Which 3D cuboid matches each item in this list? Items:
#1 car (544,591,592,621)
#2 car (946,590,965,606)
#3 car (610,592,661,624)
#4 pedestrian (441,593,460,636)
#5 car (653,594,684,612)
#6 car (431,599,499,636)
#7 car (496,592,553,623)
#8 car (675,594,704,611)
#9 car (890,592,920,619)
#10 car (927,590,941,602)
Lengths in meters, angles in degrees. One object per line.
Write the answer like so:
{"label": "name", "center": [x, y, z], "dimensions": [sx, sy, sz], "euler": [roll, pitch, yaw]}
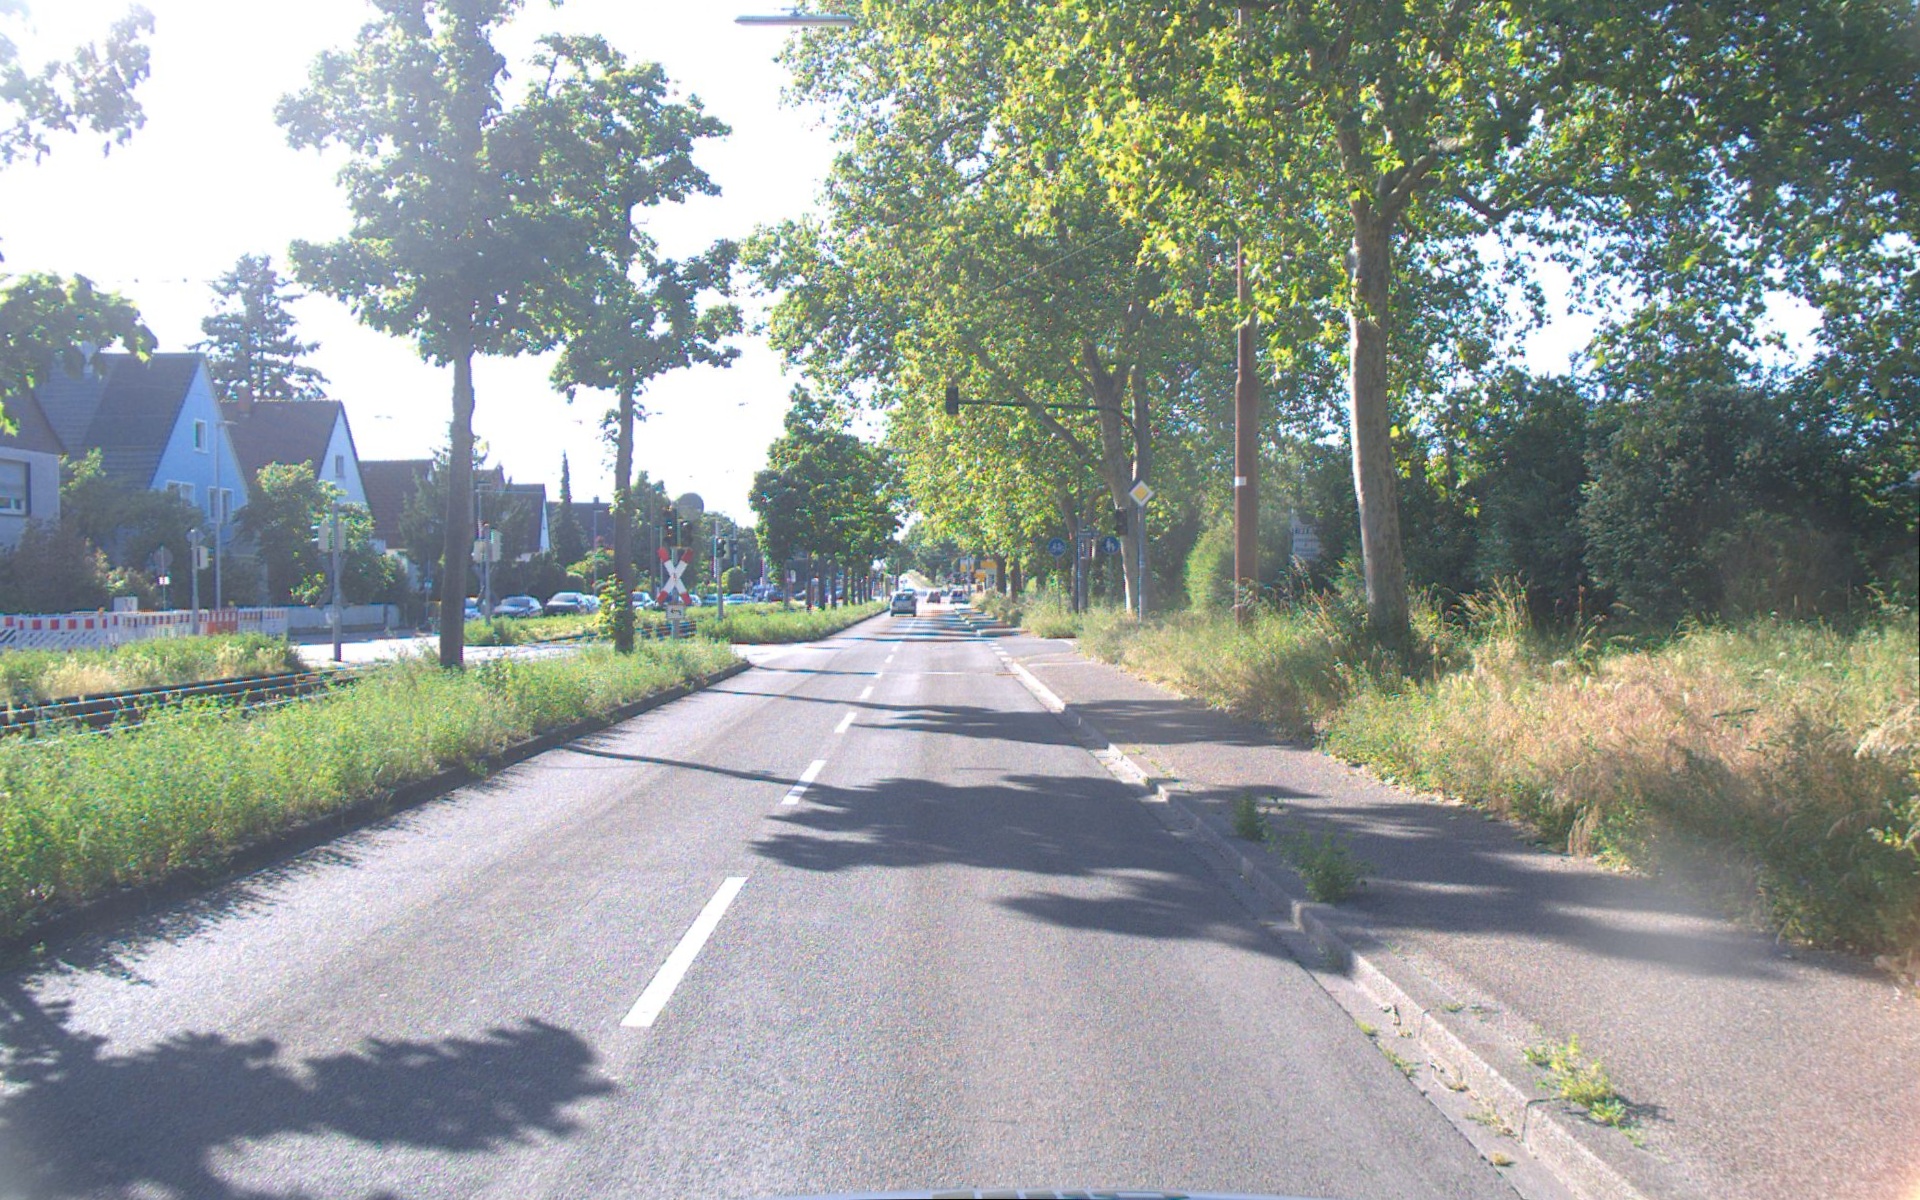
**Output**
{"label": "car", "center": [-22.130, 0.327, 93.481], "dimensions": [1.712, 1.679, 4.554], "euler": [0, 0, -1]}
{"label": "car", "center": [-0.467, -0.210, 175.610], "dimensions": [1.953, 1.631, 4.472], "euler": [0, 0, -1]}
{"label": "car", "center": [-17.193, 0.411, 87.807], "dimensions": [1.953, 1.631, 4.472], "euler": [0, 0, -1]}
{"label": "pedestrian", "center": [-24.418, 0.704, 79.291], "dimensions": [0.667, 2.049, 0.772], "euler": [0, 0, -1]}
{"label": "car", "center": [-23.149, 0.234, 131.425], "dimensions": [1.822, 1.438, 4.157], "euler": [0, 0, -1]}
{"label": "car", "center": [-21.865, 0.758, 73.263], "dimensions": [1.822, 1.569, 4.227], "euler": [0, 0, -1]}
{"label": "car", "center": [-21.574, 0.378, 82.013], "dimensions": [1.694, 1.491, 4.601], "euler": [0, 0, -1]}
{"label": "car", "center": [-23.104, 0.232, 141.461], "dimensions": [1.822, 1.456, 4.461], "euler": [0, 0, -1]}
{"label": "car", "center": [-3.389, 0.345, 102.345], "dimensions": [1.822, 1.629, 4.227], "euler": [0, 0, -1]}
{"label": "car", "center": [-3.394, -0.502, 211.642], "dimensions": [1.755, 1.586, 4.227], "euler": [0, 0, -1]}
